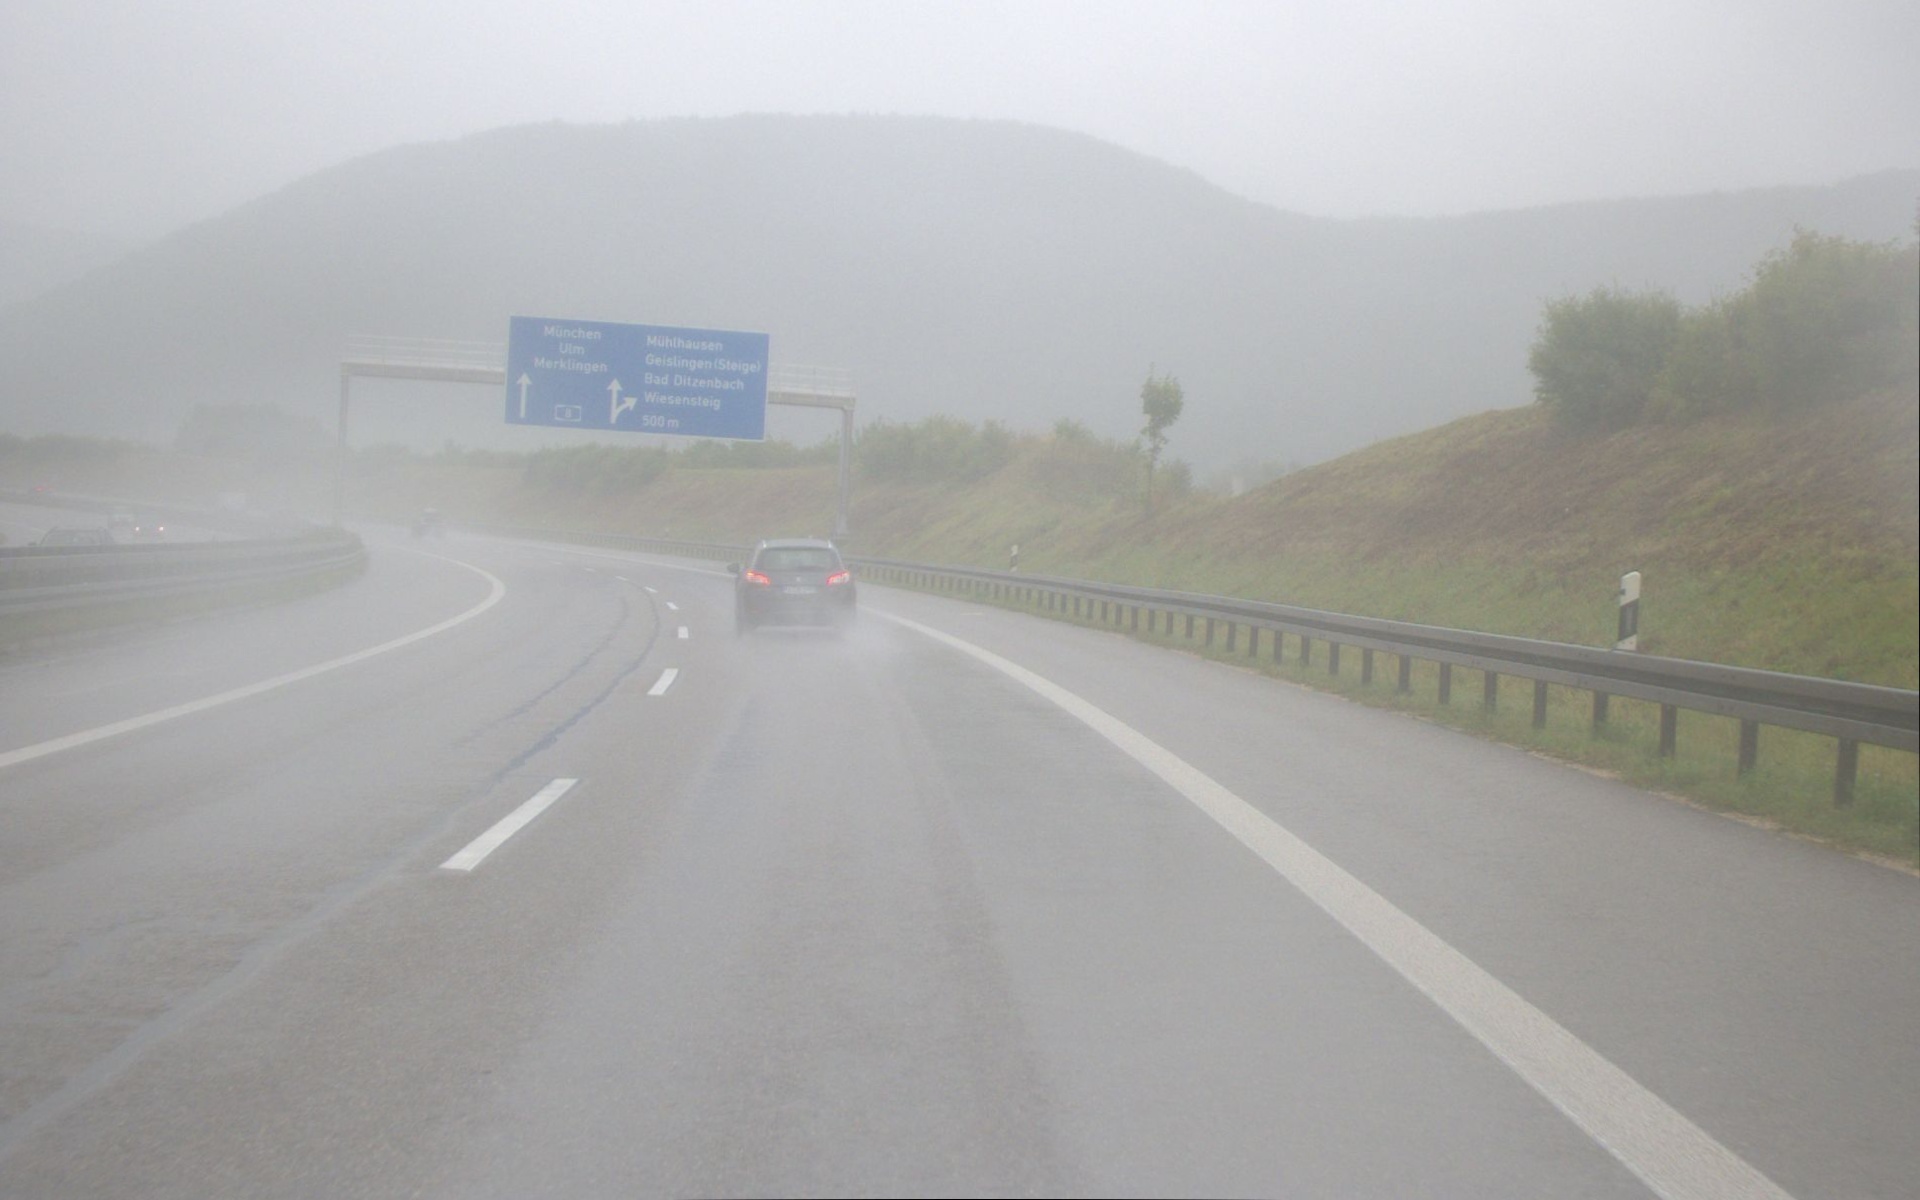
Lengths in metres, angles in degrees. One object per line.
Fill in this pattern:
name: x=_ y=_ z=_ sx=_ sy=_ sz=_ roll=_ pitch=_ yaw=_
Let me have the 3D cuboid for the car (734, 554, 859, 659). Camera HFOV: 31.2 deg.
car: x=-2.440 y=0.073 z=52.059 sx=1.679 sy=1.467 sz=3.815 roll=2 pitch=1 yaw=0
